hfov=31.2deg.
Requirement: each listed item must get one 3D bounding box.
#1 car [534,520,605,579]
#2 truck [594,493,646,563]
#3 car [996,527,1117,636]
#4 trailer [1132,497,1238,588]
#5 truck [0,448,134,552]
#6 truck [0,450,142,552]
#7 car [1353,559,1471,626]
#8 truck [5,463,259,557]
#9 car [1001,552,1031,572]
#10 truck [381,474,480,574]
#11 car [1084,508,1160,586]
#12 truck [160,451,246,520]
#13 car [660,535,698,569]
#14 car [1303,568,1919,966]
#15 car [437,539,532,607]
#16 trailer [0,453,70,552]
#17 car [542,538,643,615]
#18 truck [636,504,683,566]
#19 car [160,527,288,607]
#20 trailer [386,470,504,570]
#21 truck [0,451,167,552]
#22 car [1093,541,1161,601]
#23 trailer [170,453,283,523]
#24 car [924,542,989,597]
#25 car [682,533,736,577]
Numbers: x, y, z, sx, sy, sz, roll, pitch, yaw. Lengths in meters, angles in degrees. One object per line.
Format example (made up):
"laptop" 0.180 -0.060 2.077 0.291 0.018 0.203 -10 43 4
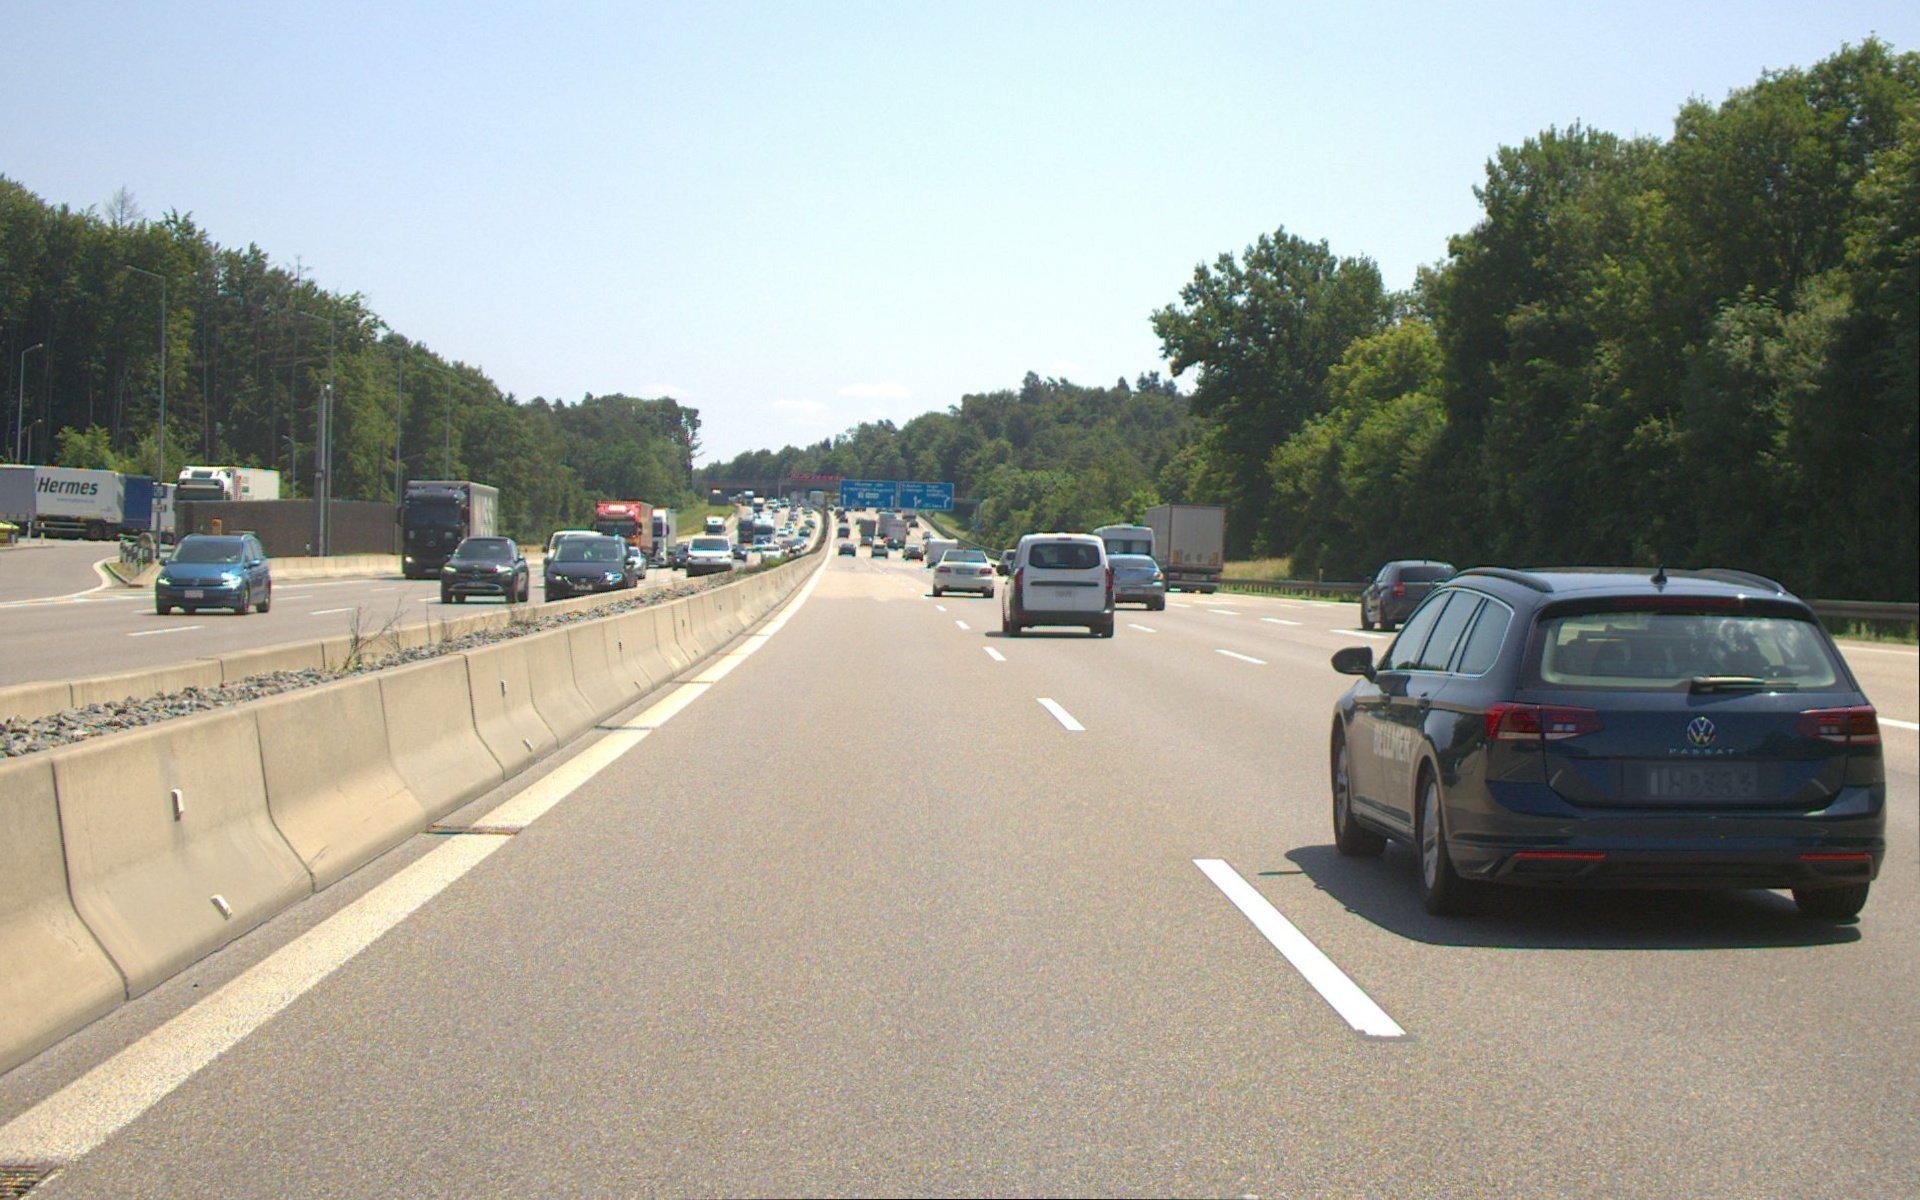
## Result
"car" -13.758 -1.769 121.215 1.993 2.007 5.130 1 1 -1
"truck" -20.067 -4.243 203.047 2.527 4.035 6.473 1 1 -2
"car" 1.668 -0.349 61.020 1.859 1.819 4.612 1 1 -1
"trailer" 10.554 -2.832 162.960 3.287 3.917 13.893 4 2 -3
"truck" -51.295 -5.614 194.206 3.226 5.593 8.467 2 1 43
"truck" -52.911 -5.695 197.511 3.226 5.593 11.508 2 1 43
"car" 9.043 -0.167 69.012 1.670 1.269 4.290 1 1 -2
"truck" -53.448 -5.757 222.694 3.448 5.593 16.668 2 1 43
"car" 3.810 -2.623 235.498 1.835 1.333 3.643 1 1 -2
"truck" -21.525 -3.078 140.076 3.287 3.917 5.540 1 1 -2
"car" 5.777 -1.941 123.540 2.143 2.643 5.710 3 2 -2
"truck" -36.311 -5.469 165.085 2.926 3.113 6.203 2 1 -2
"car" -17.114 -2.918 209.498 1.993 2.007 5.130 1 1 -1
"car" 2.719 0.605 15.424 1.729 1.442 4.962 1 1 -1
"car" -12.166 -0.714 88.172 1.827 1.693 5.004 1 1 -1
"trailer" -53.070 -5.167 176.916 3.221 5.055 14.529 2 1 43
"car" -8.275 -0.555 77.859 1.849 1.672 5.045 1 1 -1
"truck" -20.103 -4.349 230.060 2.734 4.017 6.782 1 1 -2
"car" -15.146 -0.695 70.936 1.729 1.565 4.673 1 1 -1
"trailer" -21.801 -3.354 146.435 3.342 3.987 14.280 1 1 -2
"truck" -52.689 -5.758 203.029 3.226 5.593 11.508 2 1 43
"car" 4.347 -0.766 90.008 1.503 1.495 3.650 1 1 -1
"trailer" -36.575 -5.537 171.986 2.971 3.113 14.611 2 1 -2
"car" -0.139 -0.966 106.606 1.843 1.623 4.554 1 1 -2
"car" -10.602 -1.894 145.727 1.993 1.791 5.130 1 1 -1
